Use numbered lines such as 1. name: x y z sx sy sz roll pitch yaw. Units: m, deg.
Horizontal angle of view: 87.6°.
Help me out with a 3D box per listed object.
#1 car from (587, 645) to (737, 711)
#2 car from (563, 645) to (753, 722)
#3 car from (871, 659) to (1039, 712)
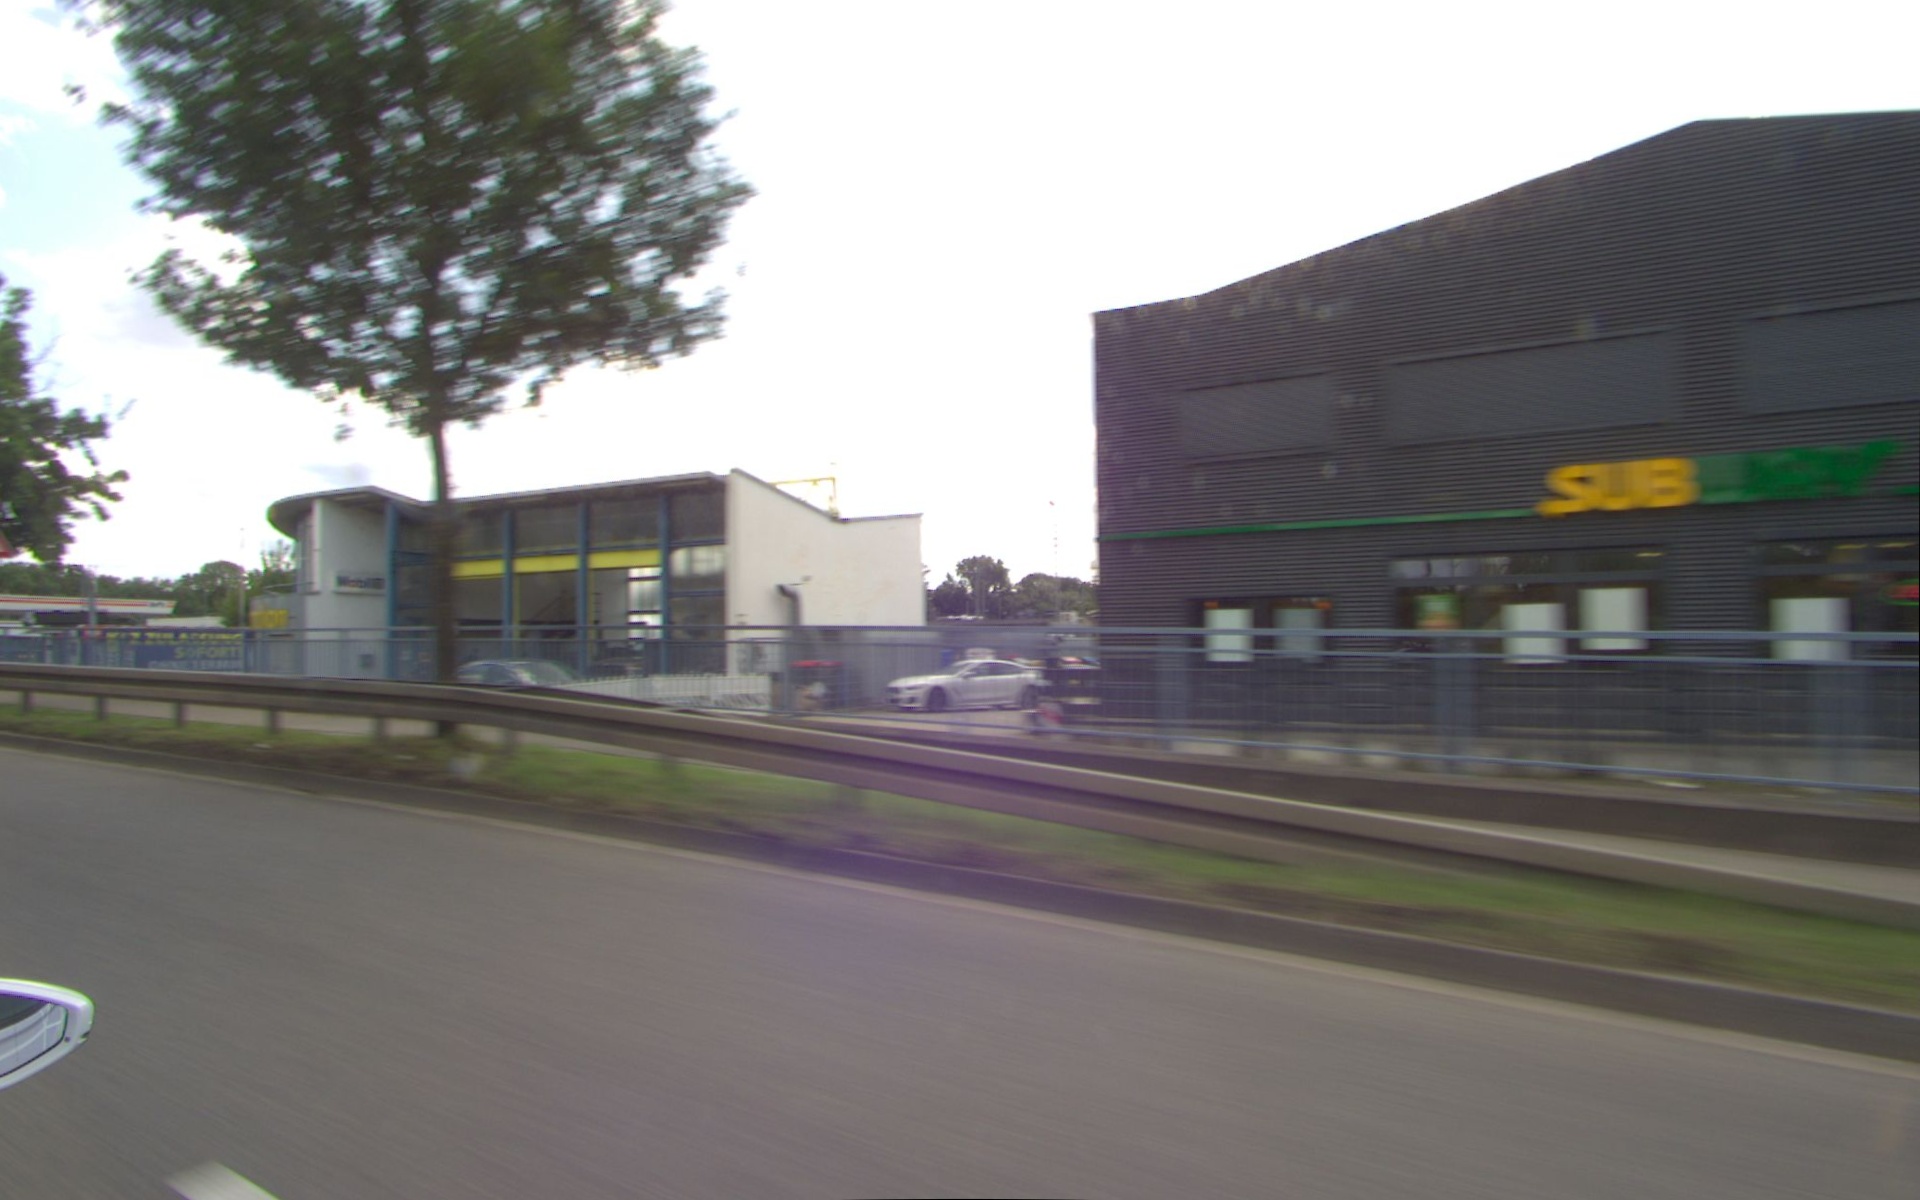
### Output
1. car: -10.007 2.606 34.041 2.197 2.038 4.773 0 -3 27
2. car: -8.737 2.385 29.661 2.195 2.038 5.810 -2 -3 23
3. car: -0.117 2.328 28.003 4.319 1.301 1.989 2 -2 -32
